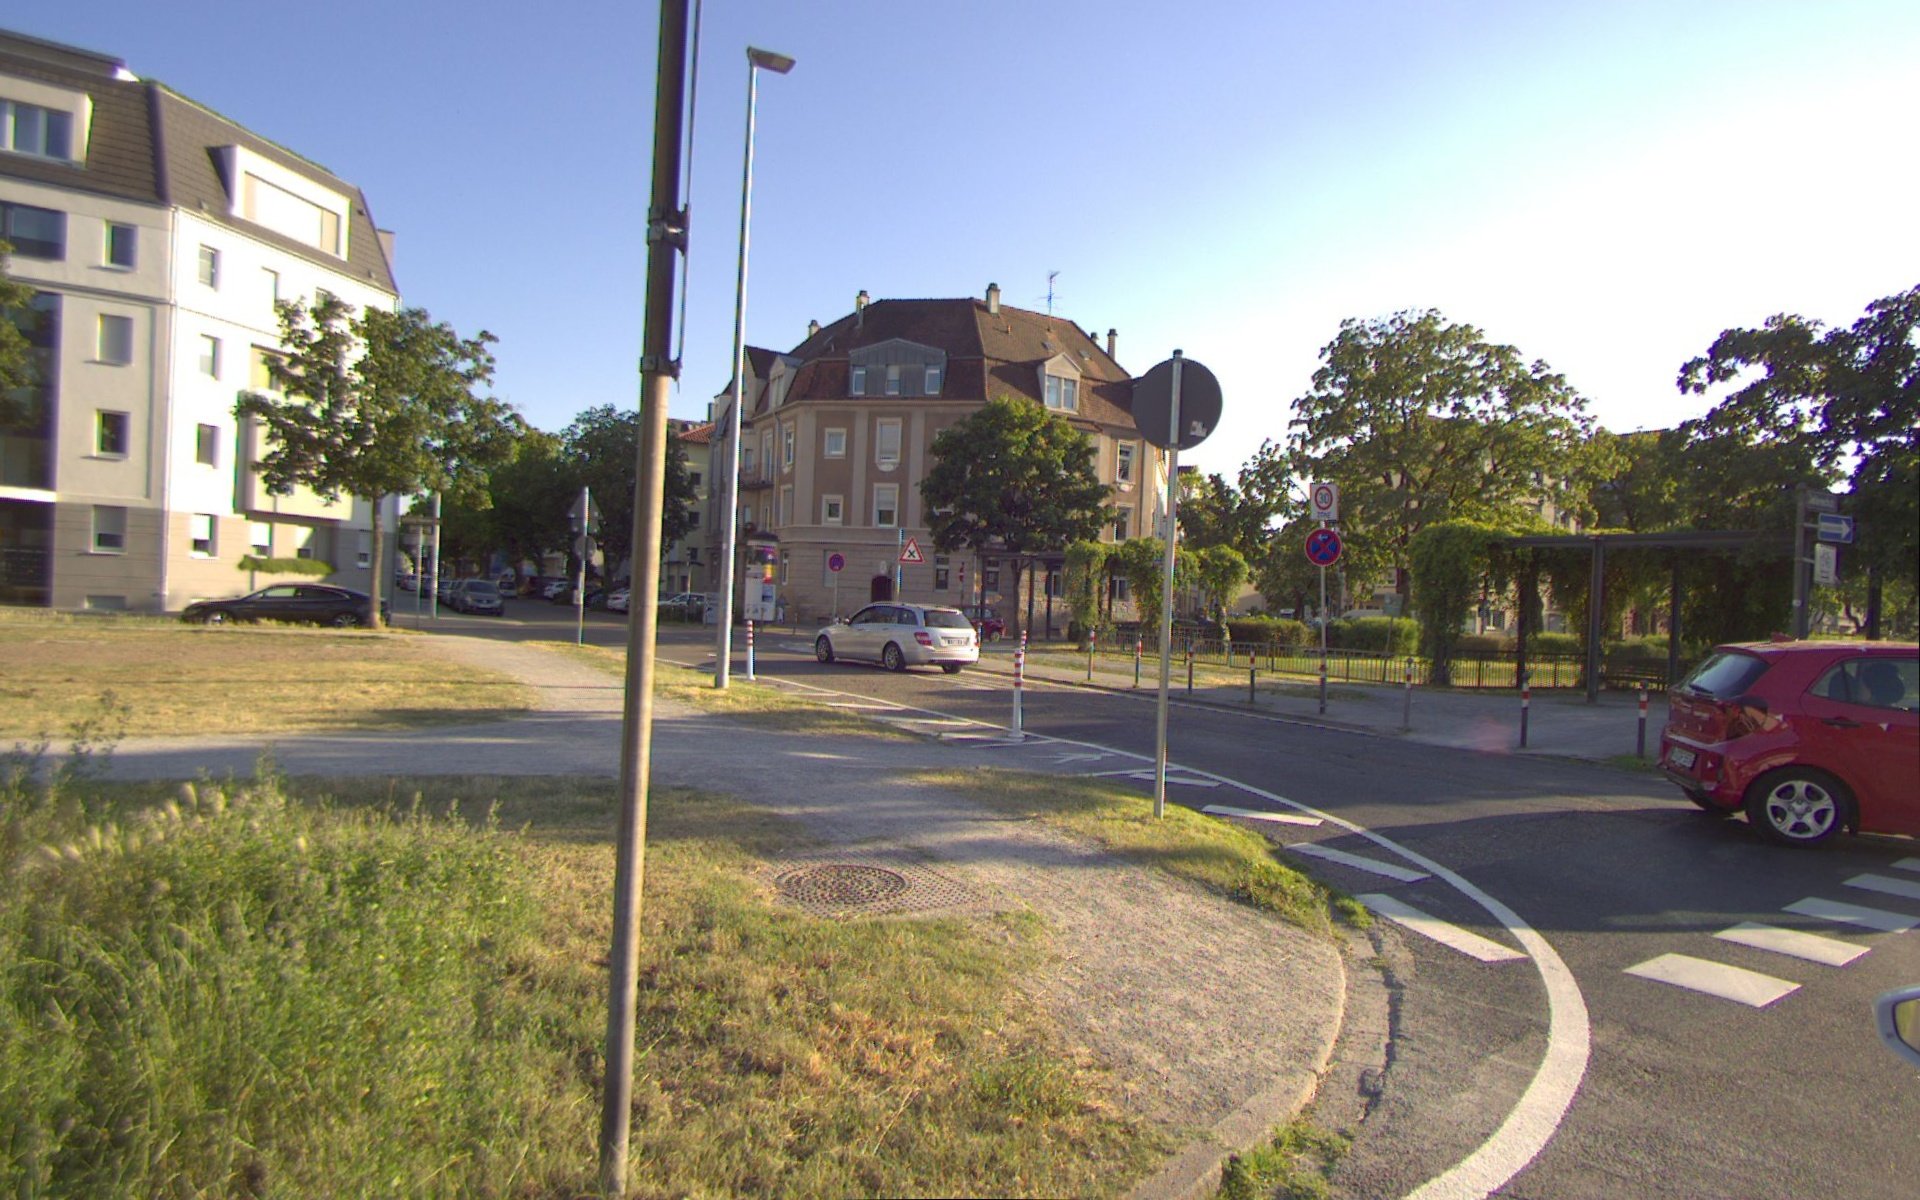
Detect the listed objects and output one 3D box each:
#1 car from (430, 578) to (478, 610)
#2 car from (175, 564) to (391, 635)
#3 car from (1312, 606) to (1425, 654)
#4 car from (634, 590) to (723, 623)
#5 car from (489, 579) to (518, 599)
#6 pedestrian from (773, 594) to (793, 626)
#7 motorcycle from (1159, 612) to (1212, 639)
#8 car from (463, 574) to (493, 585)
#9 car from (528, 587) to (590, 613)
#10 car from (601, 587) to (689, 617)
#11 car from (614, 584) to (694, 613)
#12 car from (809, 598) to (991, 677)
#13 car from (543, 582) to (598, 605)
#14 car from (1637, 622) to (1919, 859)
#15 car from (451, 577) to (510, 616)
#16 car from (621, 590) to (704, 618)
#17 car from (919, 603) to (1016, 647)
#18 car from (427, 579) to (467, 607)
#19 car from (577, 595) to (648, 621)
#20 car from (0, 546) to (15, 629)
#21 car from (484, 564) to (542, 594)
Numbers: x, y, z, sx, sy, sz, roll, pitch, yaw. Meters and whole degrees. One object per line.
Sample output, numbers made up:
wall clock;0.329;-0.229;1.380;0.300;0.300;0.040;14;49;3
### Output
car;-28.119;-0.375;55.784;1.871;1.612;4.051;3;0;-34
car;-18.586;0.007;27.883;4.785;1.691;1.773;3;0;-31
car;26.812;1.935;66.033;6.569;2.781;2.314;3;0;30
car;-14.423;0.361;51.553;4.018;1.525;1.845;2;0;-33
car;-37.038;-0.868;81.382;1.801;1.492;4.184;3;-1;-29
pedestrian;-9.135;0.509;51.842;0.806;1.565;0.742;5;2;-3
motorcycle;13.722;1.543;61.110;0.847;1.506;3.190;3;-2;-42
car;-71.291;-3.029;148.489;3.813;1.502;1.790;3;0;-31
car;-34.069;0.007;85.353;4.590;1.861;1.937;4;0;-32
car;-18.160;0.120;58.035;4.450;1.546;1.933;1;2;-38
car;-19.376;-0.105;63.595;4.493;1.662;1.857;2;0;-33
car;-1.409;0.774;21.924;1.808;1.492;4.167;3;-1;-40
car;-30.115;-0.489;77.714;3.703;1.579;1.710;2;0;-33
car;7.386;1.018;7.360;3.700;1.546;1.770;2;-1;22
car;-22.209;-0.187;46.436;1.871;1.612;4.051;3;0;-34
car;-16.504;0.238;55.821;4.111;1.467;1.658;1;1;-33
car;0.339;1.154;46.025;4.040;1.764;1.797;3;2;-30
car;-29.933;-0.432;58.555;1.744;1.466;4.107;3;-1;-31
car;-23.152;0.560;66.967;4.159;1.579;1.857;2;0;-33
car;-25.472;-0.405;23.403;4.644;2.040;2.015;3;-1;-33
car;-49.701;-2.323;111.736;5.503;3.008;2.448;2;0;-34
